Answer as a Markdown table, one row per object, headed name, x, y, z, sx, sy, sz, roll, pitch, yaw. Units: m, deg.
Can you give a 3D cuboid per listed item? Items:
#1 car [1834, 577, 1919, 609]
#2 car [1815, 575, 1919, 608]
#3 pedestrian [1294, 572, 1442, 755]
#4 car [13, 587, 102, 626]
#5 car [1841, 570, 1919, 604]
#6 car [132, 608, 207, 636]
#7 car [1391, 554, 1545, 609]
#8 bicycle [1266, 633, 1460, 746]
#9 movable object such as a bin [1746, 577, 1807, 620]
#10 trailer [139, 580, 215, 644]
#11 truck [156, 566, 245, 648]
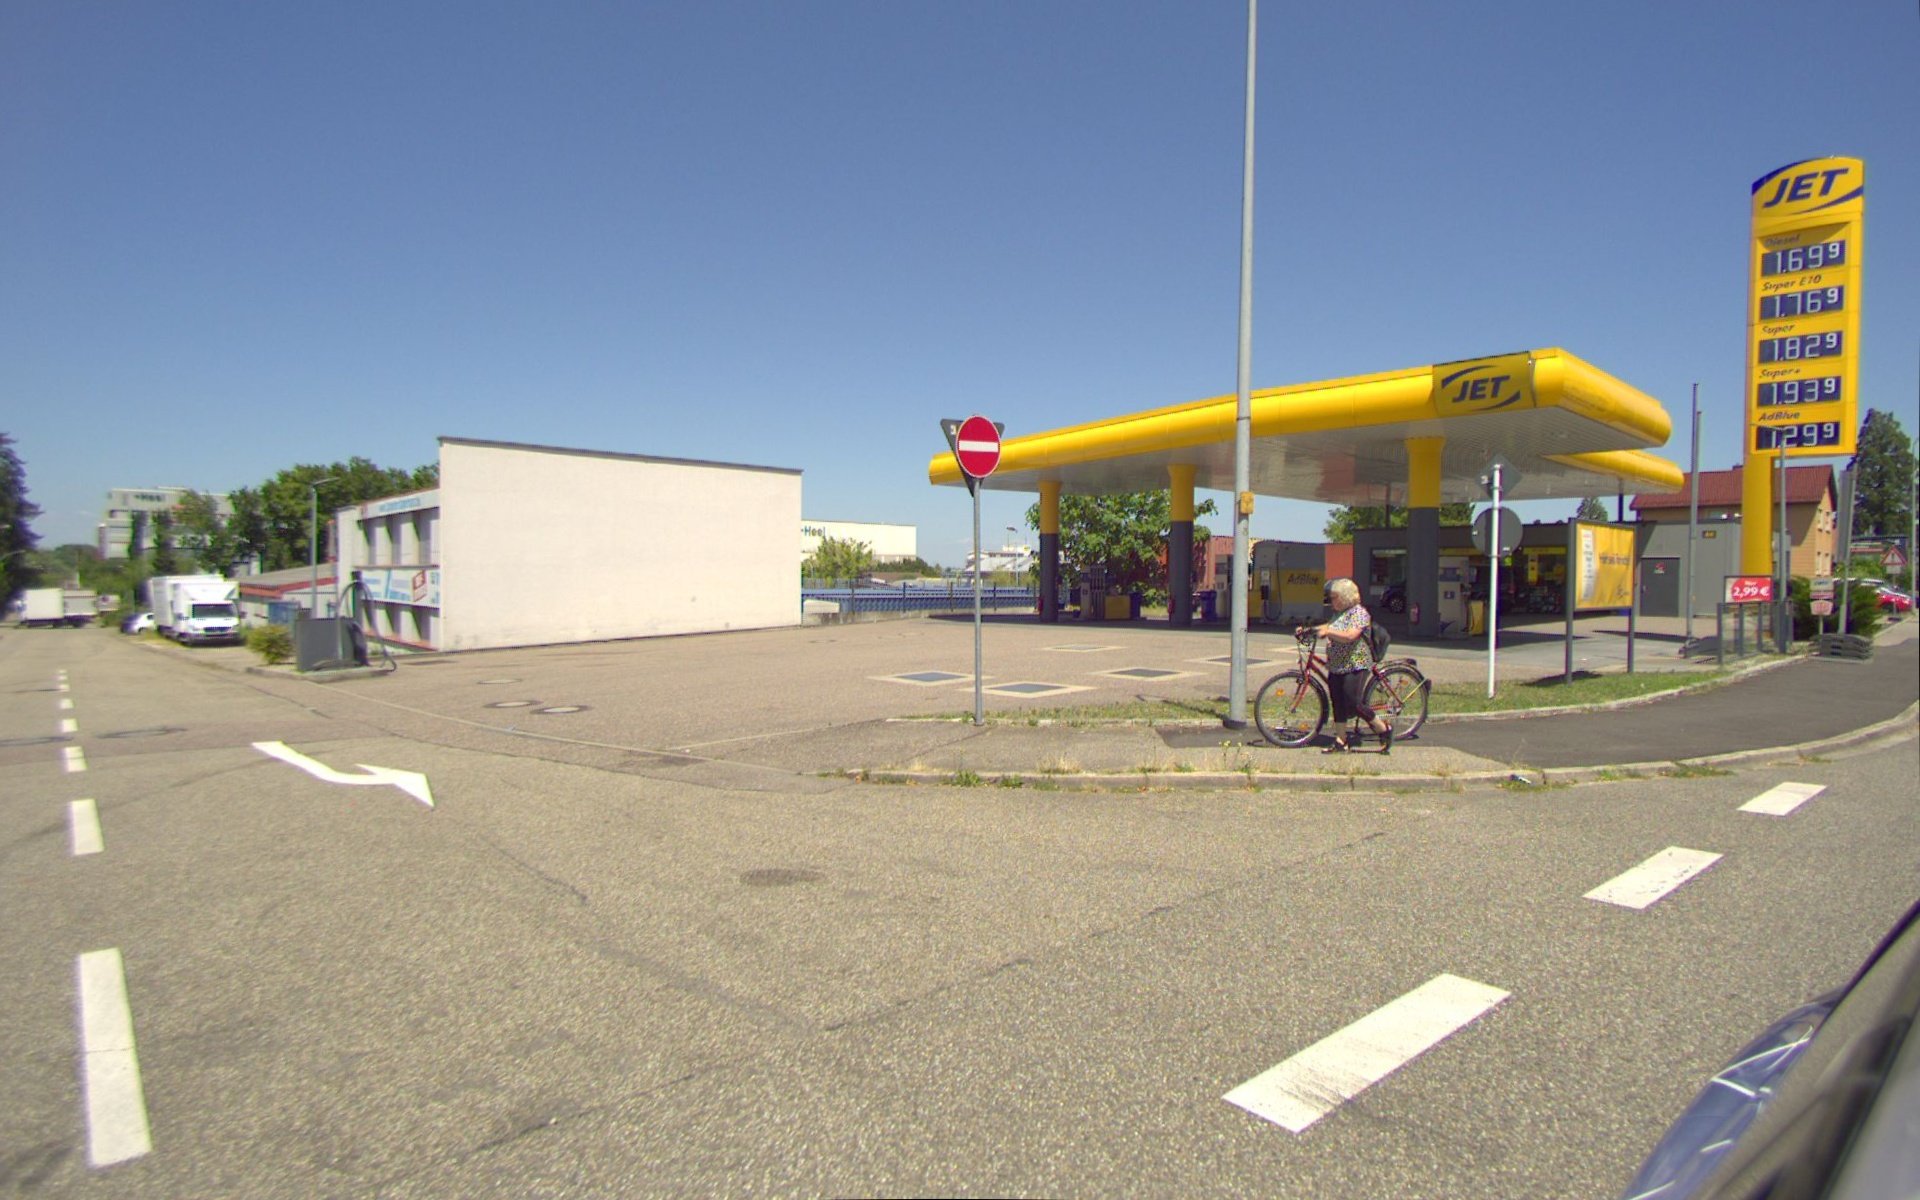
| name | x | y | z | sx | sy | sz | roll | pitch | yaw |
| --- | --- | --- | --- | --- | --- | --- | --- | --- | --- |
| car | 47.616 | -0.366 | 52.290 | 3.683 | 1.586 | 1.682 | 2 | 1 | 43 |
| car | 45.735 | -0.420 | 50.744 | 1.926 | 1.554 | 4.227 | 0 | 2 | -45 |
| pedestrian | 3.369 | 0.496 | 8.411 | 0.850 | 1.439 | 0.773 | 0 | 0 | -10 |
| car | -80.342 | 0.591 | 90.059 | 7.489 | 3.348 | 3.288 | -1 | 0 | 25 |
| car | 55.100 | -0.763 | 60.141 | 4.129 | 1.962 | 1.781 | 1 | 0 | 41 |
| car | -53.480 | 1.476 | 68.480 | 3.930 | 1.707 | 1.900 | -1 | 1 | -41 |
| car | 19.733 | -0.713 | 39.506 | 1.966 | 2.000 | 5.056 | 0 | 1 | -42 |
| bicycle | 3.512 | 0.763 | 8.838 | 1.566 | 0.923 | 0.379 | 0 | 0 | -6 |
| movable object such as a bin | 28.616 | -0.070 | 35.473 | 1.443 | 1.455 | 1.436 | 0 | 2 | -43 |
| trailer | -44.561 | 0.634 | 57.511 | 2.434 | 3.359 | 8.479 | -1 | 1 | -44 |
| truck | -38.282 | 0.323 | 50.865 | 2.525 | 3.767 | 9.457 | -1 | 0 | -43 |
